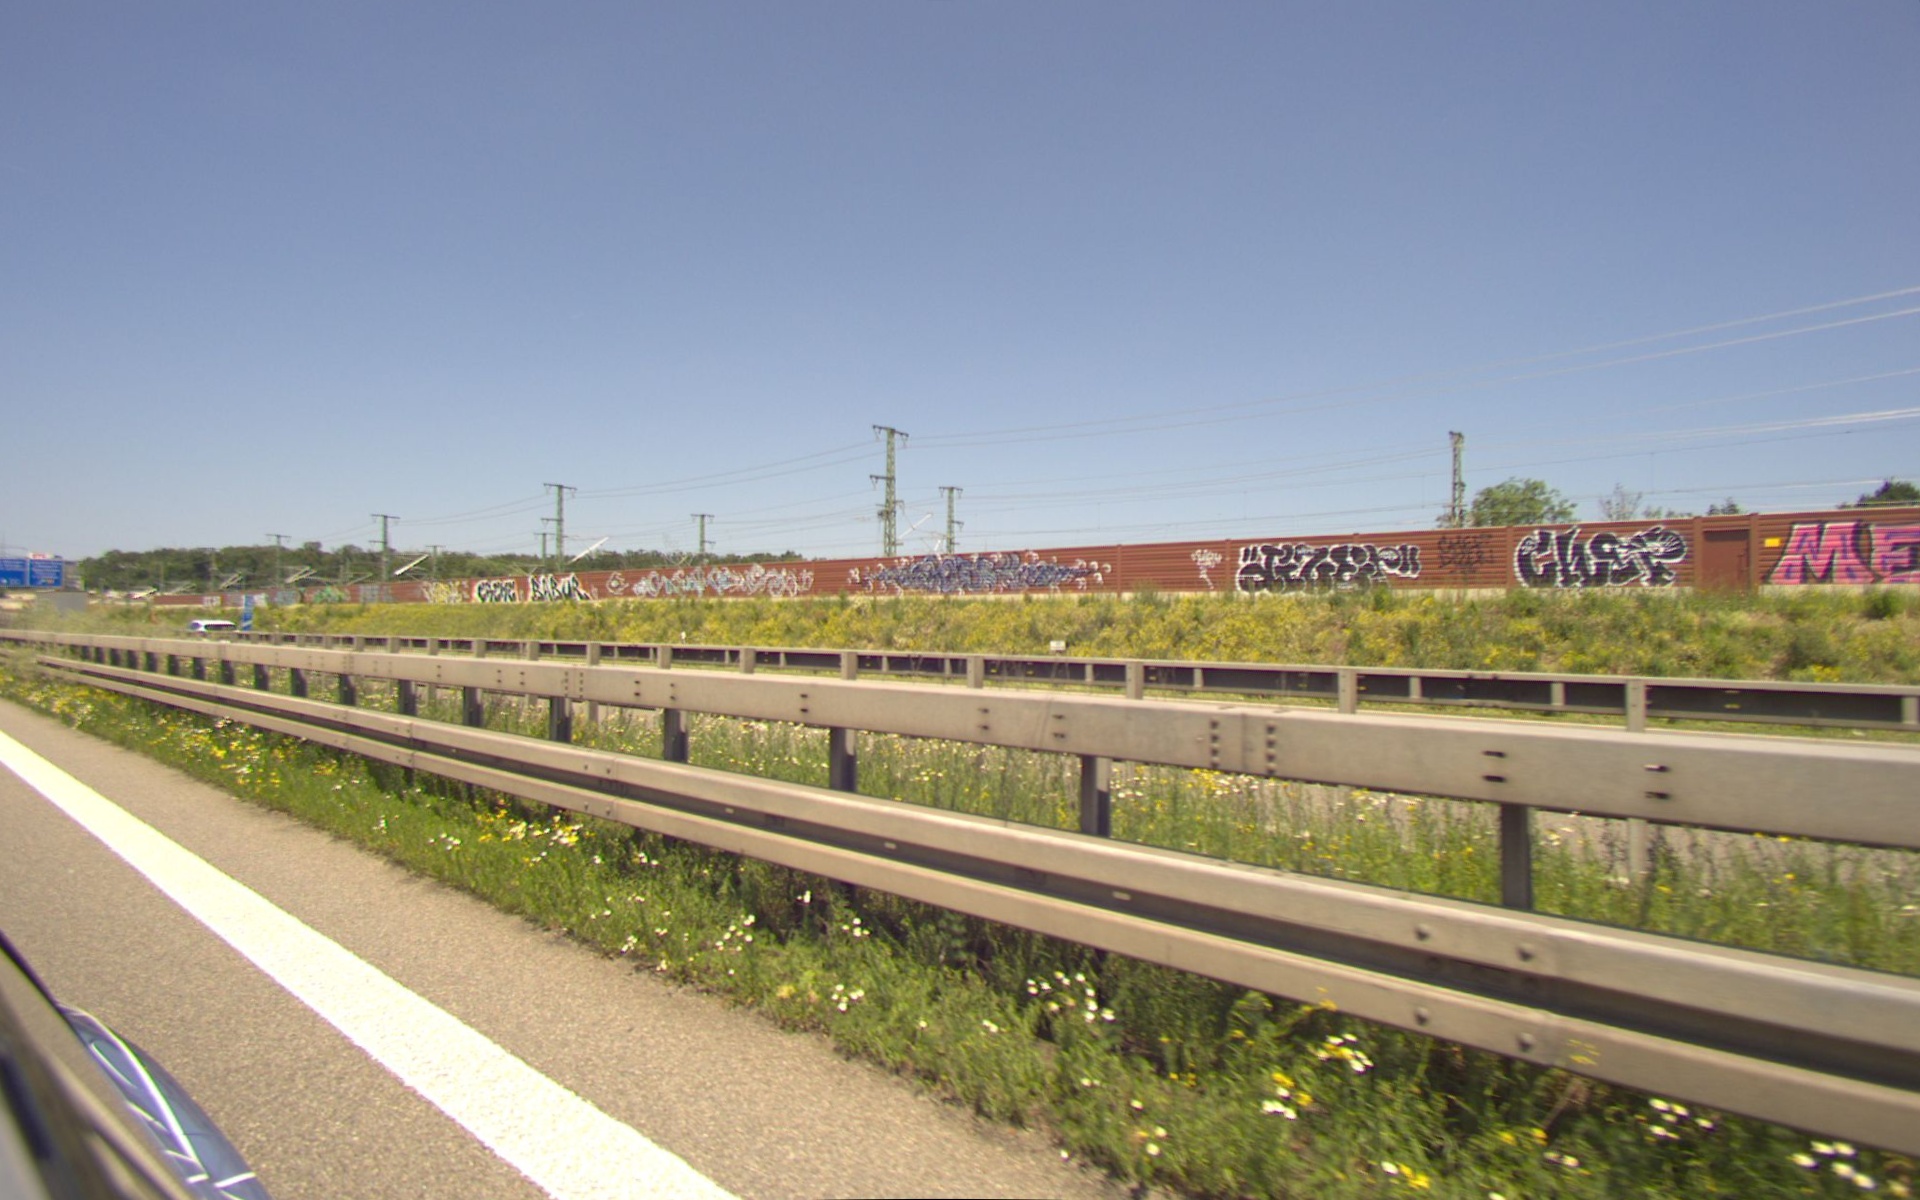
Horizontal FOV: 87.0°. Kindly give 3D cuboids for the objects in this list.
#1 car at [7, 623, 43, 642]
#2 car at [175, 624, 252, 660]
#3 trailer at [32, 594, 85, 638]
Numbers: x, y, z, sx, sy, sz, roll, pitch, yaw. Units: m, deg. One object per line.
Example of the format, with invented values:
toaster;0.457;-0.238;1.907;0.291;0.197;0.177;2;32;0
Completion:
car;-78.186;2.712;84.618;3.841;1.490;1.797;-1;-1;42
car;-34.102;1.885;46.168;4.807;1.556;1.893;-1;-1;42
trailer;-89.559;1.641;100.420;13.531;4.105;2.700;-1;-2;44
